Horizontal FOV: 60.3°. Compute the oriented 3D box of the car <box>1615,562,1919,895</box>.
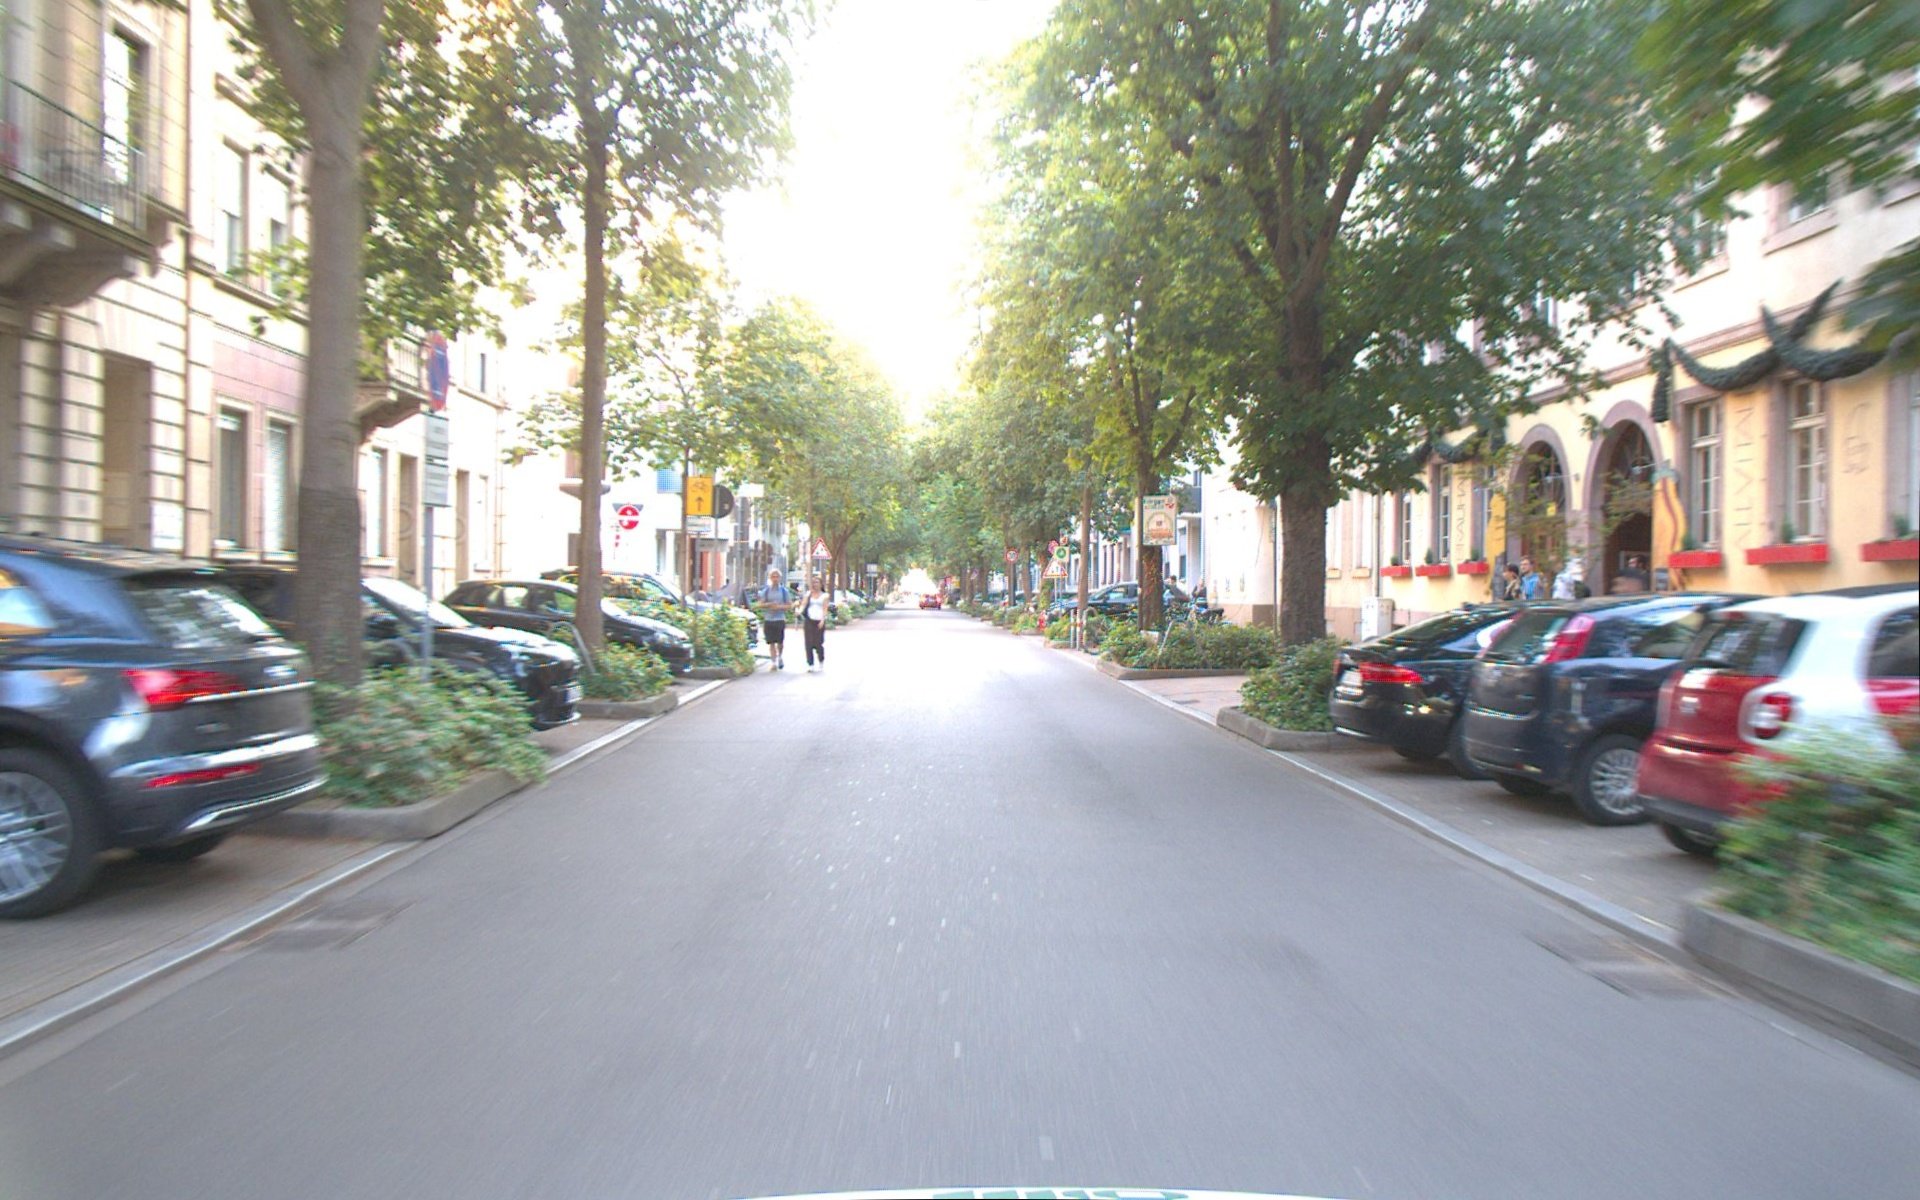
[{"bbox_3d":[5.824,0.581,9.214,3.606,1.606,1.714,-3,0,-1],"label":"car"}]

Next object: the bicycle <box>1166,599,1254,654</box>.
[{"bbox_3d":[5.348,0.557,35.435,1.760,1.148,0.663,-1,0,-8],"label":"bicycle"}]

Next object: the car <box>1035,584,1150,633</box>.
[{"bbox_3d":[4.214,0.261,52.916,3.414,1.478,1.898,-1,0,-4],"label":"car"}]

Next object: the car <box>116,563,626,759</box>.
[{"bbox_3d":[-5.130,0.521,14.860,3.866,1.559,1.906,1,0,-2],"label":"car"}]

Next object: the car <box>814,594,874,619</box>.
[{"bbox_3d":[-8.130,0.463,116.480,4.118,1.664,1.962,-1,0,-2],"label":"car"}]

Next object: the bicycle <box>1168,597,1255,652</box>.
[{"bbox_3d":[5.512,0.539,36.258,1.762,1.163,0.650,-1,0,-11],"label":"bicycle"}]

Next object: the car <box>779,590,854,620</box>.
[{"bbox_3d":[-7.632,0.248,88.038,3.791,1.512,1.757,1,0,0],"label":"car"}]

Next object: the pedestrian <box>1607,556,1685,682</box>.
[{"bbox_3d":[9.921,0.267,23.919,0.764,1.769,0.681,-2,1,-18],"label":"pedestrian"}]

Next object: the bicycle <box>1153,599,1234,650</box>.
[{"bbox_3d":[5.305,0.549,37.622,1.760,1.127,0.499,-1,0,-7],"label":"bicycle"}]

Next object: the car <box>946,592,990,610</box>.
[{"bbox_3d":[0.746,0.095,159.575,4.182,1.593,1.962,-1,0,-2],"label":"car"}]

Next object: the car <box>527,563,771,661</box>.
[{"bbox_3d":[-5.980,0.215,32.172,4.336,1.680,1.872,2,1,-1],"label":"car"}]

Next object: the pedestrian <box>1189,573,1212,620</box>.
[{"bbox_3d":[7.961,-0.113,54.814,0.641,1.563,0.831,0,0,-1],"label":"pedestrian"}]

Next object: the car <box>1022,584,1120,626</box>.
[{"bbox_3d":[4.083,0.183,61.411,3.414,1.478,1.898,-1,0,-4],"label":"car"}]

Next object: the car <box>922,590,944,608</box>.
[{"bbox_3d":[-2.446,-0.092,148.846,1.917,1.593,4.281,-1,0,-1],"label":"car"}]

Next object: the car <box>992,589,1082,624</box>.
[{"bbox_3d":[3.438,0.279,74.289,3.801,1.465,1.846,-1,0,-5],"label":"car"}]

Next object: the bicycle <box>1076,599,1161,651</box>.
[{"bbox_3d":[3.645,0.561,38.002,1.805,1.155,0.743,-1,0,-12],"label":"bicycle"}]

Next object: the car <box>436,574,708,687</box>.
[{"bbox_3d":[-5.726,0.430,24.772,3.618,1.483,1.872,2,1,-2],"label":"car"}]

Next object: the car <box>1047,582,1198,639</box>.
[{"bbox_3d":[4.829,0.296,49.658,4.335,1.685,1.899,0,0,0],"label":"car"}]

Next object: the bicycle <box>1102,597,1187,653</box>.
[{"bbox_3d":[4.093,0.543,36.688,1.793,1.199,0.600,-1,0,-3],"label":"bicycle"}]

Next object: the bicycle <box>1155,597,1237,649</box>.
[{"bbox_3d":[5.458,0.527,38.313,1.762,1.163,0.667,-1,0,-11],"label":"bicycle"}]

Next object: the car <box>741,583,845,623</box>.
[{"bbox_3d":[-6.750,0.112,67.147,4.044,1.512,1.928,1,0,-3],"label":"car"}]

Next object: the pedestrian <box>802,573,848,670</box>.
[{"bbox_3d":[-2.405,0.382,29.506,0.778,1.700,0.831,0,0,-3],"label":"pedestrian"}]

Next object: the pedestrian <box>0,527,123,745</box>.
[{"bbox_3d":[-7.574,0.293,13.897,0.655,1.769,0.737,2,0,1],"label":"pedestrian"}]

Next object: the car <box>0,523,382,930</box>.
[{"bbox_3d":[-5.198,0.467,7.948,4.116,1.701,1.907,2,1,-2],"label":"car"}]

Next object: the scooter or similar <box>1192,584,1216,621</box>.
[{"bbox_3d":[7.974,0.082,54.038,0.641,1.173,0.831,0,0,-1],"label":"scooter or similar"}]

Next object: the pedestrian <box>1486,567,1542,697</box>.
[{"bbox_3d":[7.731,0.444,23.109,0.697,1.769,0.748,-1,1,18],"label":"pedestrian"}]

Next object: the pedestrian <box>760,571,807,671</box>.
[{"bbox_3d":[-3.188,0.372,29.903,0.778,1.767,0.831,0,0,-3],"label":"pedestrian"}]

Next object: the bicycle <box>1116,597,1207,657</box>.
[{"bbox_3d":[4.194,0.556,34.487,1.793,1.199,0.672,-1,0,-3],"label":"bicycle"}]

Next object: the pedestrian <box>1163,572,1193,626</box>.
[{"bbox_3d":[7.158,-0.042,54.293,0.683,1.767,0.666,0,0,-33],"label":"pedestrian"}]

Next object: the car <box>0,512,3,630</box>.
[{"bbox_3d":[-5.595,0.453,5.524,3.725,1.701,1.713,2,1,-3],"label":"car"}]

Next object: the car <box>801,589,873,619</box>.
[{"bbox_3d":[-8.041,0.272,108.759,4.588,1.886,1.962,-1,0,-2],"label":"car"}]

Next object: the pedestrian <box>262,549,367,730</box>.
[{"bbox_3d":[-6.493,0.388,16.652,0.719,1.769,0.671,2,0,5],"label":"pedestrian"}]

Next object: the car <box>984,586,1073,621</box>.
[{"bbox_3d":[3.624,0.187,88.212,4.621,1.740,1.950,1,1,0],"label":"car"}]

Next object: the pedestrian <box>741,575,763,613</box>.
[{"bbox_3d":[-9.782,-0.294,77.802,0.689,1.788,0.739,1,-1,22],"label":"pedestrian"}]

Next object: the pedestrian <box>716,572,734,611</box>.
[{"bbox_3d":[-10.611,-0.390,74.668,0.689,1.758,0.905,1,0,-2],"label":"pedestrian"}]

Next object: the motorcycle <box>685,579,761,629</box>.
[{"bbox_3d":[-7.334,0.125,51.230,2.176,1.507,0.854,1,1,-20],"label":"motorcycle"}]

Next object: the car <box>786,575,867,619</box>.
[{"bbox_3d":[-7.763,-0.171,96.327,4.588,2.521,1.999,1,0,-2],"label":"car"}]

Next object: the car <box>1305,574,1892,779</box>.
[{"bbox_3d":[5.390,0.611,14.321,4.314,1.418,1.884,-3,0,-4],"label":"car"}]

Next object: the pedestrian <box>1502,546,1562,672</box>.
[{"bbox_3d":[8.264,0.121,23.918,0.602,1.769,0.623,-1,1,-2],"label":"pedestrian"}]

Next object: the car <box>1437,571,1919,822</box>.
[{"bbox_3d":[5.688,0.607,11.831,3.908,1.462,1.925,-3,0,-3],"label":"car"}]
